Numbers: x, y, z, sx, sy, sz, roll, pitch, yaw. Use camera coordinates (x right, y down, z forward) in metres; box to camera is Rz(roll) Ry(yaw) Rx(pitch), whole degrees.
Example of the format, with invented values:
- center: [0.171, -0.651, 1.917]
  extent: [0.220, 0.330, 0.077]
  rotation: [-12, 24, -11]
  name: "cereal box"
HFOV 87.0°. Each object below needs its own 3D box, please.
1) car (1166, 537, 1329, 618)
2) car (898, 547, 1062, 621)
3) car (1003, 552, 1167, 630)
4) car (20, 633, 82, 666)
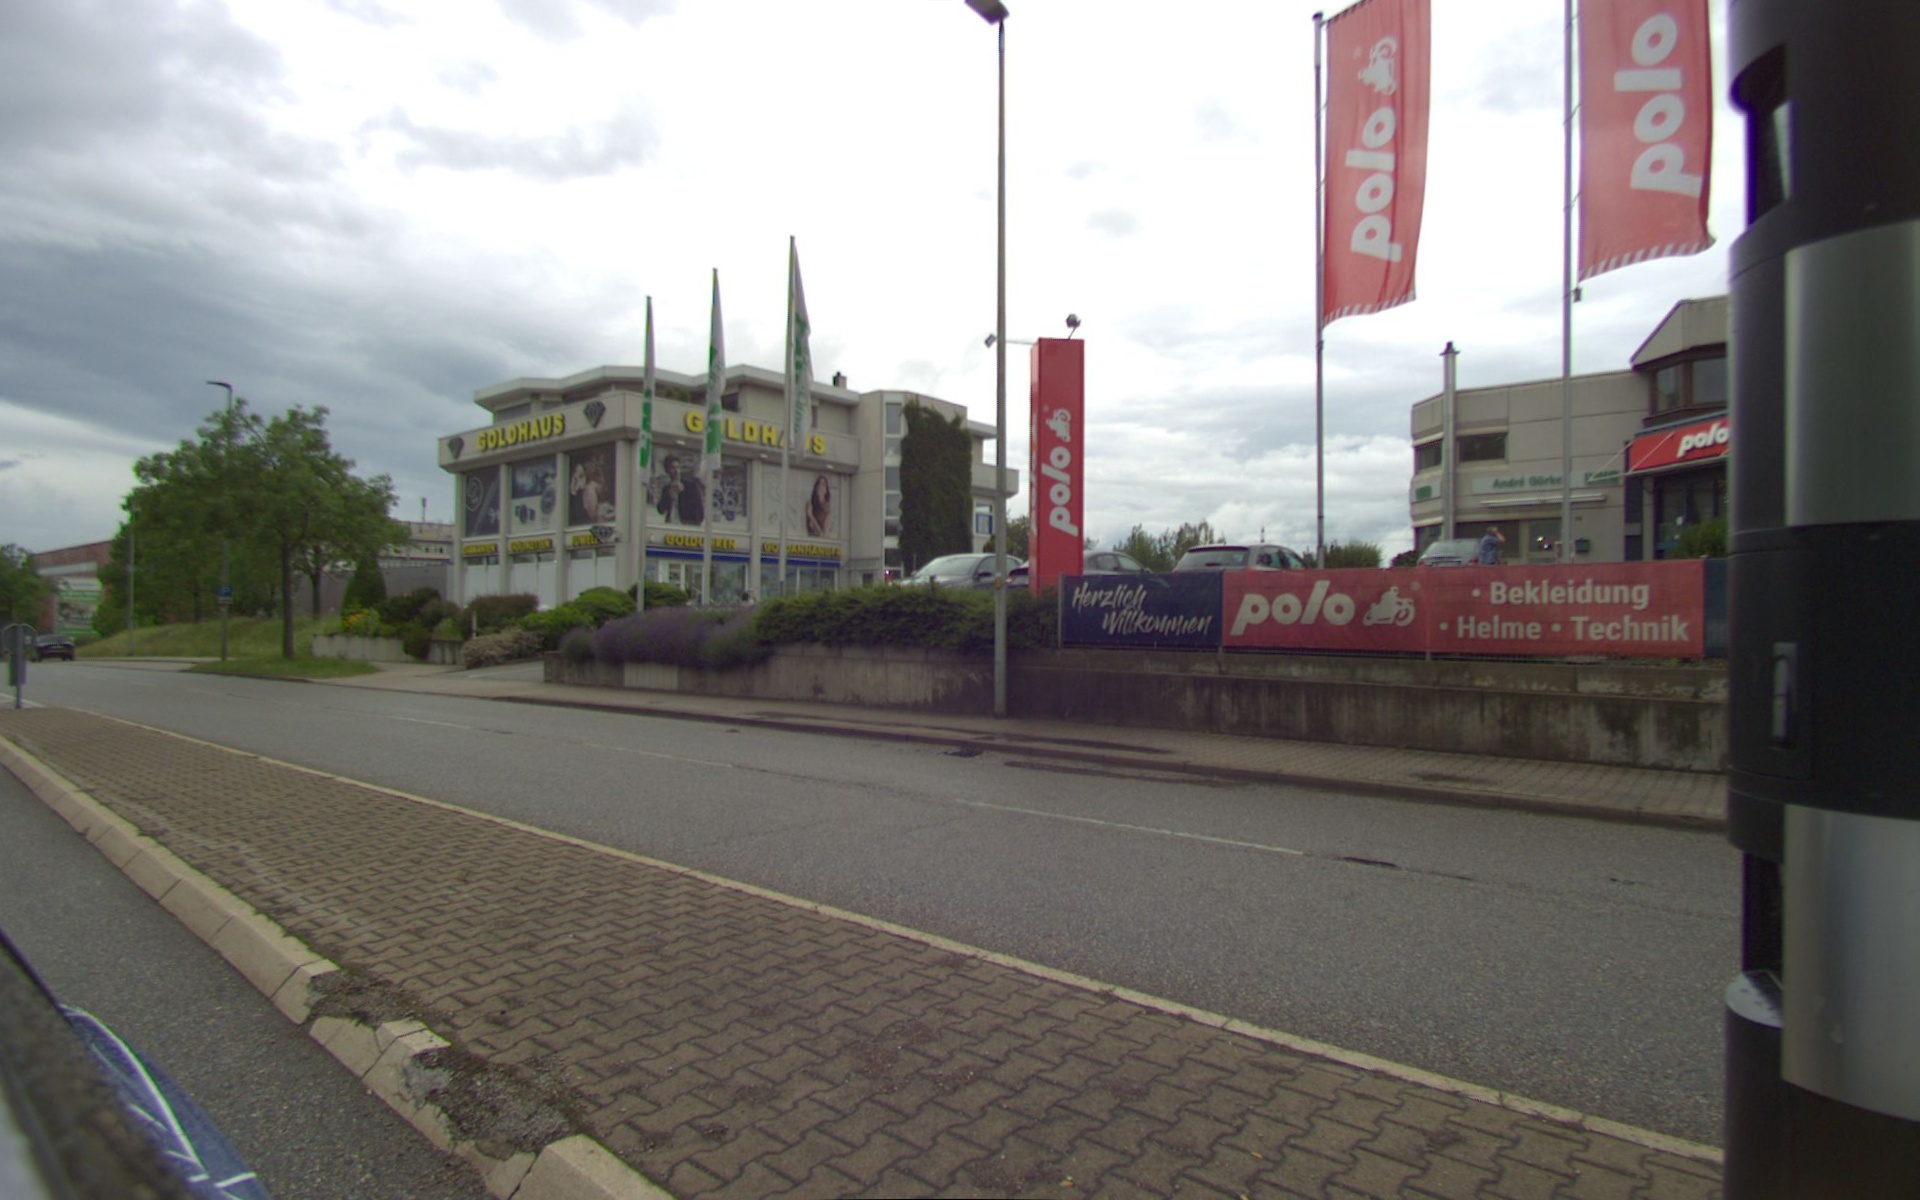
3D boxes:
- center: [4.881, -0.307, 16.947]
  extent: [1.452, 1.176, 3.353]
  rotation: [-2, -2, 38]
  name: "car"
- center: [0.457, -0.253, 20.250]
  extent: [1.454, 1.347, 3.350]
  rotation: [-2, -2, 42]
  name: "car"
- center: [2.346, -0.109, 18.461]
  extent: [1.452, 1.287, 3.353]
  rotation: [-2, -2, 38]
  name: "car"
- center: [-56.691, 3.115, 63.098]
  extent: [4.542, 1.905, 2.320]
  rotation: [-4, -4, 41]
  name: "car"
